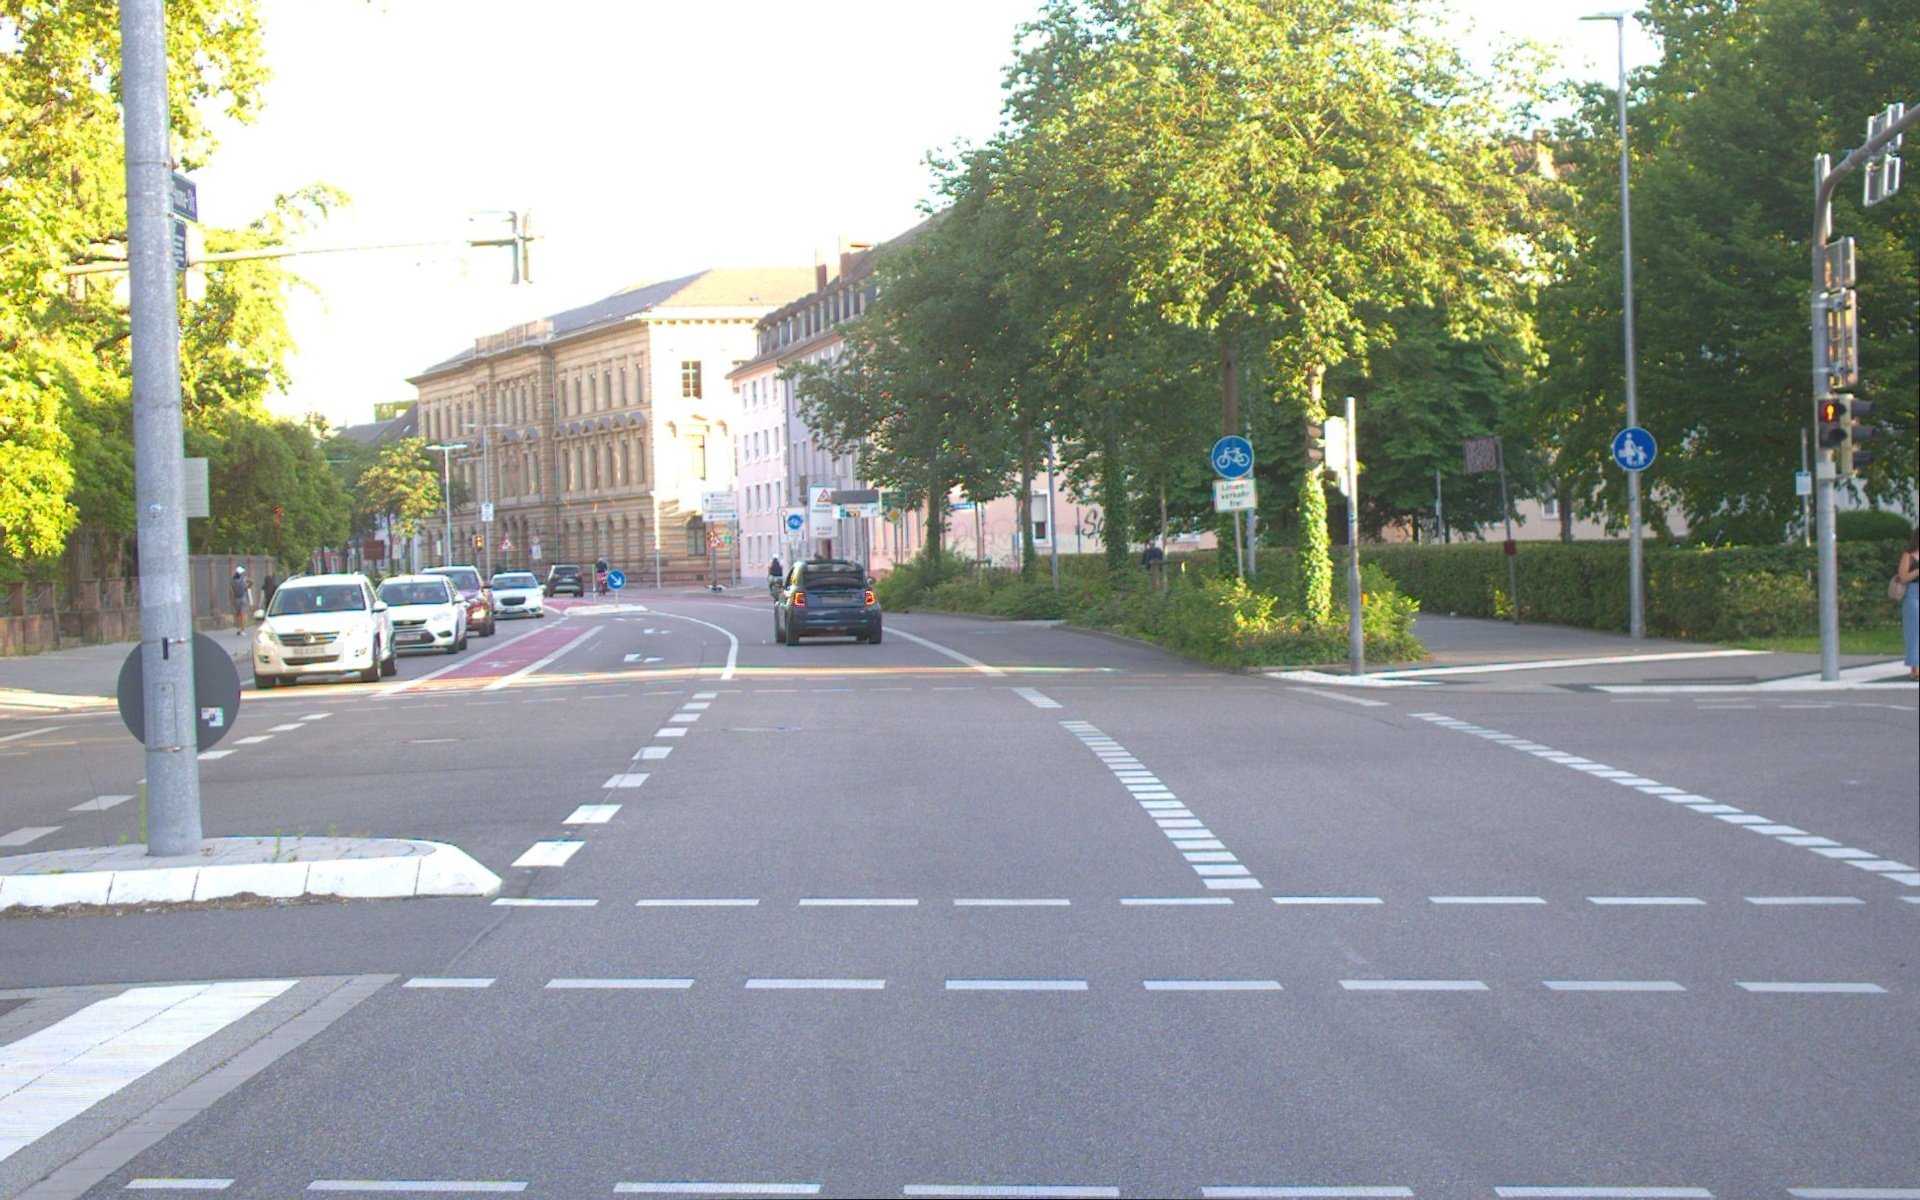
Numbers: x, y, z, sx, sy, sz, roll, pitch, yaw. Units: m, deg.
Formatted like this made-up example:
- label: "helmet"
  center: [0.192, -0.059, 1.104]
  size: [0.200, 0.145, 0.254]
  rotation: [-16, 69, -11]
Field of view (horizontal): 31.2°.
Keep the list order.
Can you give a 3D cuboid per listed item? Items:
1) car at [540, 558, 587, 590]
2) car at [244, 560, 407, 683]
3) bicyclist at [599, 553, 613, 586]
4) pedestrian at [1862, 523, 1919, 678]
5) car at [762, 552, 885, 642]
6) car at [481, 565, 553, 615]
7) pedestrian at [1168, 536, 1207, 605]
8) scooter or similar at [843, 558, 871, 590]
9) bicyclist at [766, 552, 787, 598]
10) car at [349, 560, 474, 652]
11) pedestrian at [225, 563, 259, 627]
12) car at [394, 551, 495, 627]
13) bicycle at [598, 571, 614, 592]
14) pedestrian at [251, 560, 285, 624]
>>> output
- label: "car"
  center: [-19.628, -1.285, 170.042]
  size: [1.916, 1.413, 4.771]
  rotation: [-4, 1, -10]
- label: "car"
  center: [-9.685, 0.290, 52.769]
  size: [1.916, 1.690, 4.427]
  rotation: [-3, 1, -5]
- label: "bicyclist"
  center: [-17.967, -1.555, 174.477]
  size: [0.652, 1.692, 0.957]
  rotation: [1, 0, -10]
- label: "pedestrian"
  center: [10.142, -0.003, 36.867]
  size: [0.681, 1.616, 0.845]
  rotation: [-2, 1, -1]
- label: "car"
  center: [-2.477, -0.085, 61.611]
  size: [1.867, 1.504, 4.001]
  rotation: [-2, 1, -7]
- label: "car"
  center: [-13.837, -0.335, 107.604]
  size: [1.916, 1.413, 4.771]
  rotation: [-3, 1, -5]
- label: "pedestrian"
  center: [5.829, -0.752, 88.160]
  size: [0.769, 1.733, 0.807]
  rotation: [-2, 1, -10]
- label: "scooter or similar"
  center: [-4.367, -1.110, 145.477]
  size: [0.629, 1.332, 2.401]
  rotation: [-1, 1, -14]
- label: "bicyclist"
  center: [-5.894, -0.806, 110.591]
  size: [0.652, 1.441, 0.879]
  rotation: [1, 0, -4]
- label: "car"
  center: [-10.496, 0.084, 66.057]
  size: [1.916, 1.578, 4.675]
  rotation: [-3, 1, -5]
- label: "pedestrian"
  center: [-18.300, -0.135, 87.610]
  size: [0.681, 1.617, 0.688]
  rotation: [-2, 1, -1]
- label: "car"
  center: [-11.962, -0.281, 80.049]
  size: [1.916, 1.619, 4.640]
  rotation: [-3, 1, -5]
- label: "bicycle"
  center: [-17.976, -0.933, 174.487]
  size: [0.652, 1.012, 2.198]
  rotation: [1, 1, -10]
- label: "pedestrian"
  center: [-17.585, -0.207, 87.409]
  size: [0.681, 1.617, 0.688]
  rotation: [-2, 1, -1]
